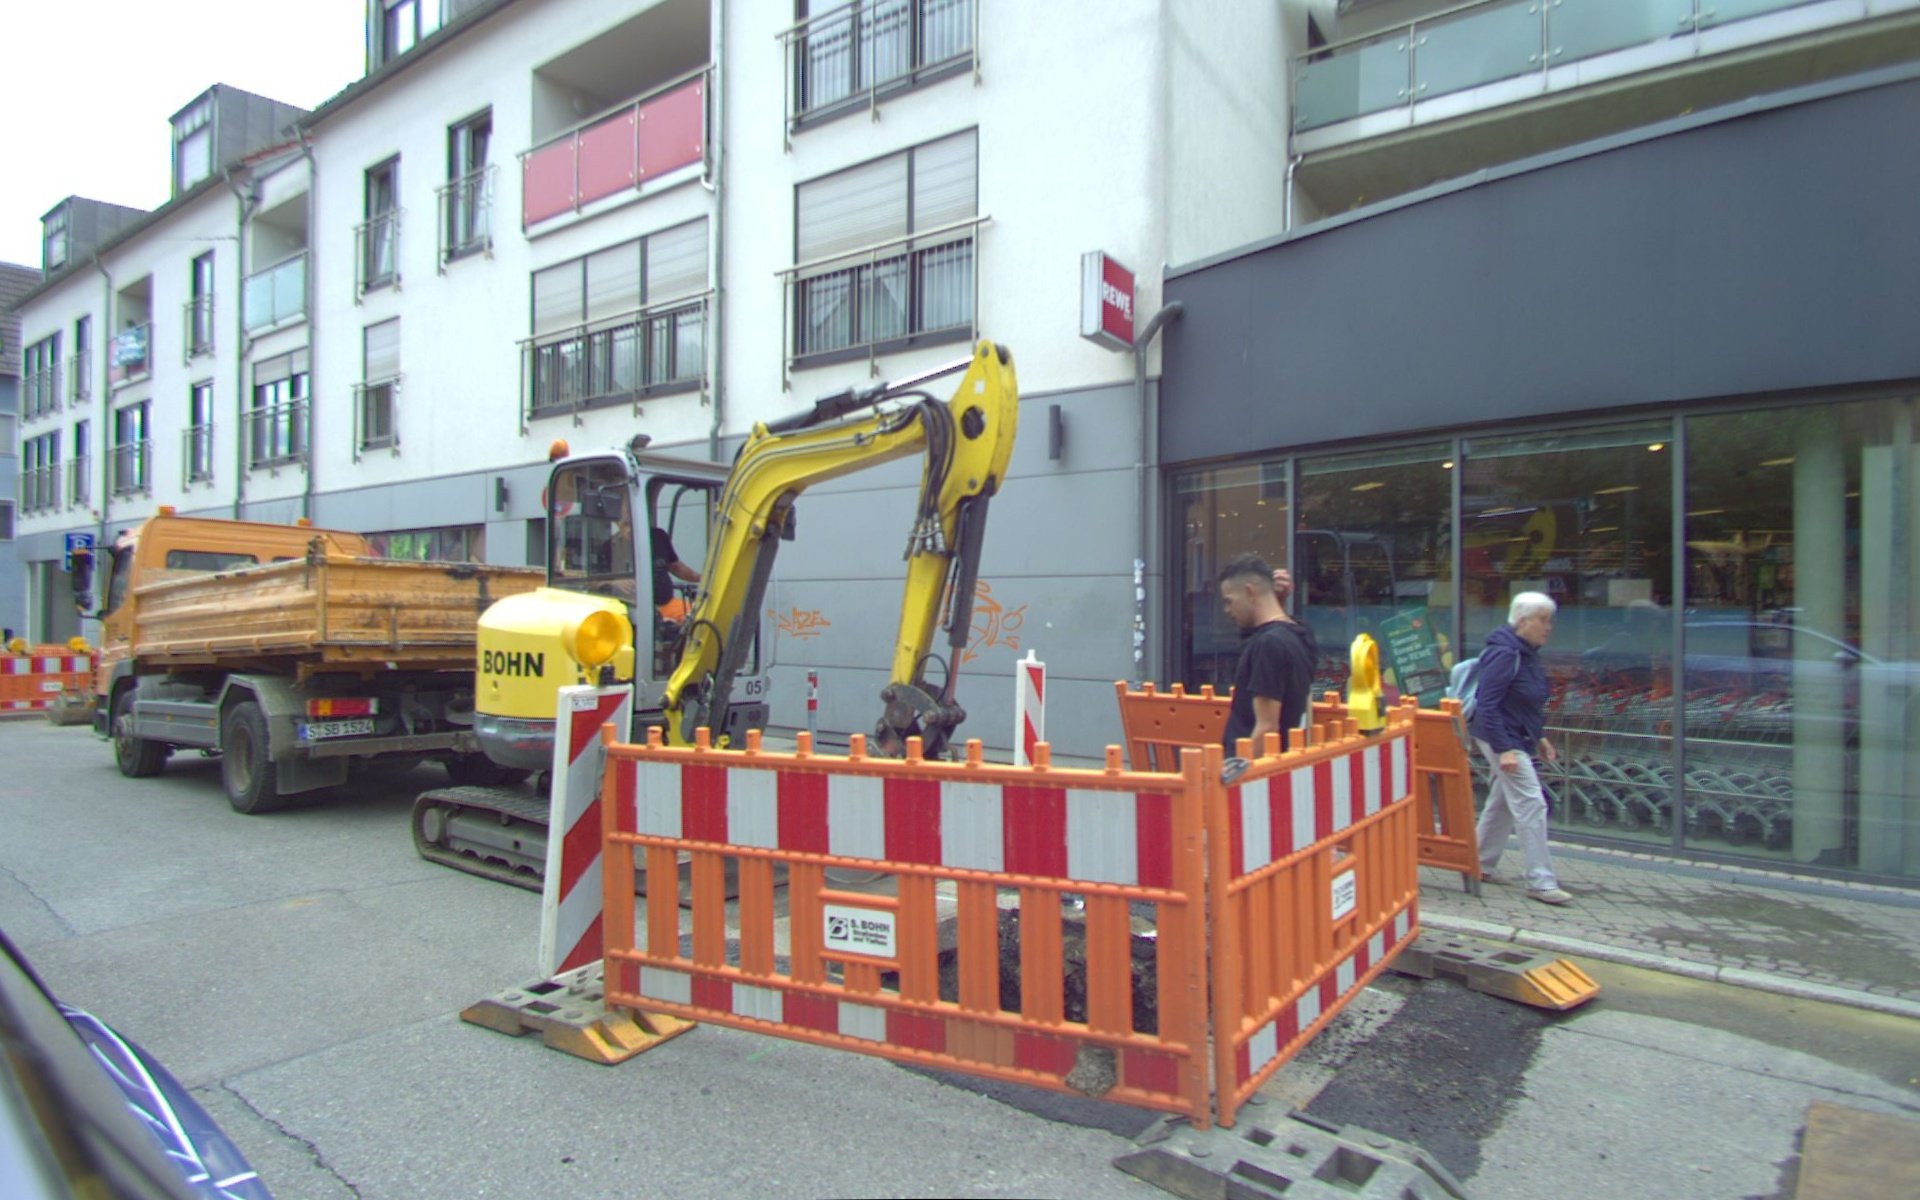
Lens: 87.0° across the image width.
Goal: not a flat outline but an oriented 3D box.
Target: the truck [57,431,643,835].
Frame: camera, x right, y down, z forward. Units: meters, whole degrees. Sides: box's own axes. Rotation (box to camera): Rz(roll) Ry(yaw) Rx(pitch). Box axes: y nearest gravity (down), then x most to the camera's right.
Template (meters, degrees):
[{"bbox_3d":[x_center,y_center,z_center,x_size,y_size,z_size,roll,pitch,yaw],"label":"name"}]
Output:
[{"bbox_3d":[-6.344,0.338,10.063,6.837,2.746,2.705,-2,-3,38],"label":"truck"}]

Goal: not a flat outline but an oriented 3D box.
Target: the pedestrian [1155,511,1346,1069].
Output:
[{"bbox_3d":[1.023,0.605,3.551,0.443,1.757,0.531,-2,-2,41],"label":"pedestrian"}]

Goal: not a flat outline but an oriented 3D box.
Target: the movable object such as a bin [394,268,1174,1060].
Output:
[{"bbox_3d":[-1.259,0.236,5.704,4.501,2.784,1.821,0,-1,39],"label":"movable object such as a bin"}]

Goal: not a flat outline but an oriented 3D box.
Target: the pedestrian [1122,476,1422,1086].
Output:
[{"bbox_3d":[1.117,0.551,3.600,0.743,1.829,0.806,-2,-2,40],"label":"pedestrian"}]

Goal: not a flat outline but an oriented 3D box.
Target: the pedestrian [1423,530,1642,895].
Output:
[{"bbox_3d":[3.047,0.546,5.383,0.816,1.726,0.823,-2,-2,43],"label":"pedestrian"}]

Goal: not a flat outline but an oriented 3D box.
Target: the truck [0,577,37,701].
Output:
[{"bbox_3d":[-22.159,0.854,21.437,6.290,2.485,2.393,-2,-3,34],"label":"truck"}]
